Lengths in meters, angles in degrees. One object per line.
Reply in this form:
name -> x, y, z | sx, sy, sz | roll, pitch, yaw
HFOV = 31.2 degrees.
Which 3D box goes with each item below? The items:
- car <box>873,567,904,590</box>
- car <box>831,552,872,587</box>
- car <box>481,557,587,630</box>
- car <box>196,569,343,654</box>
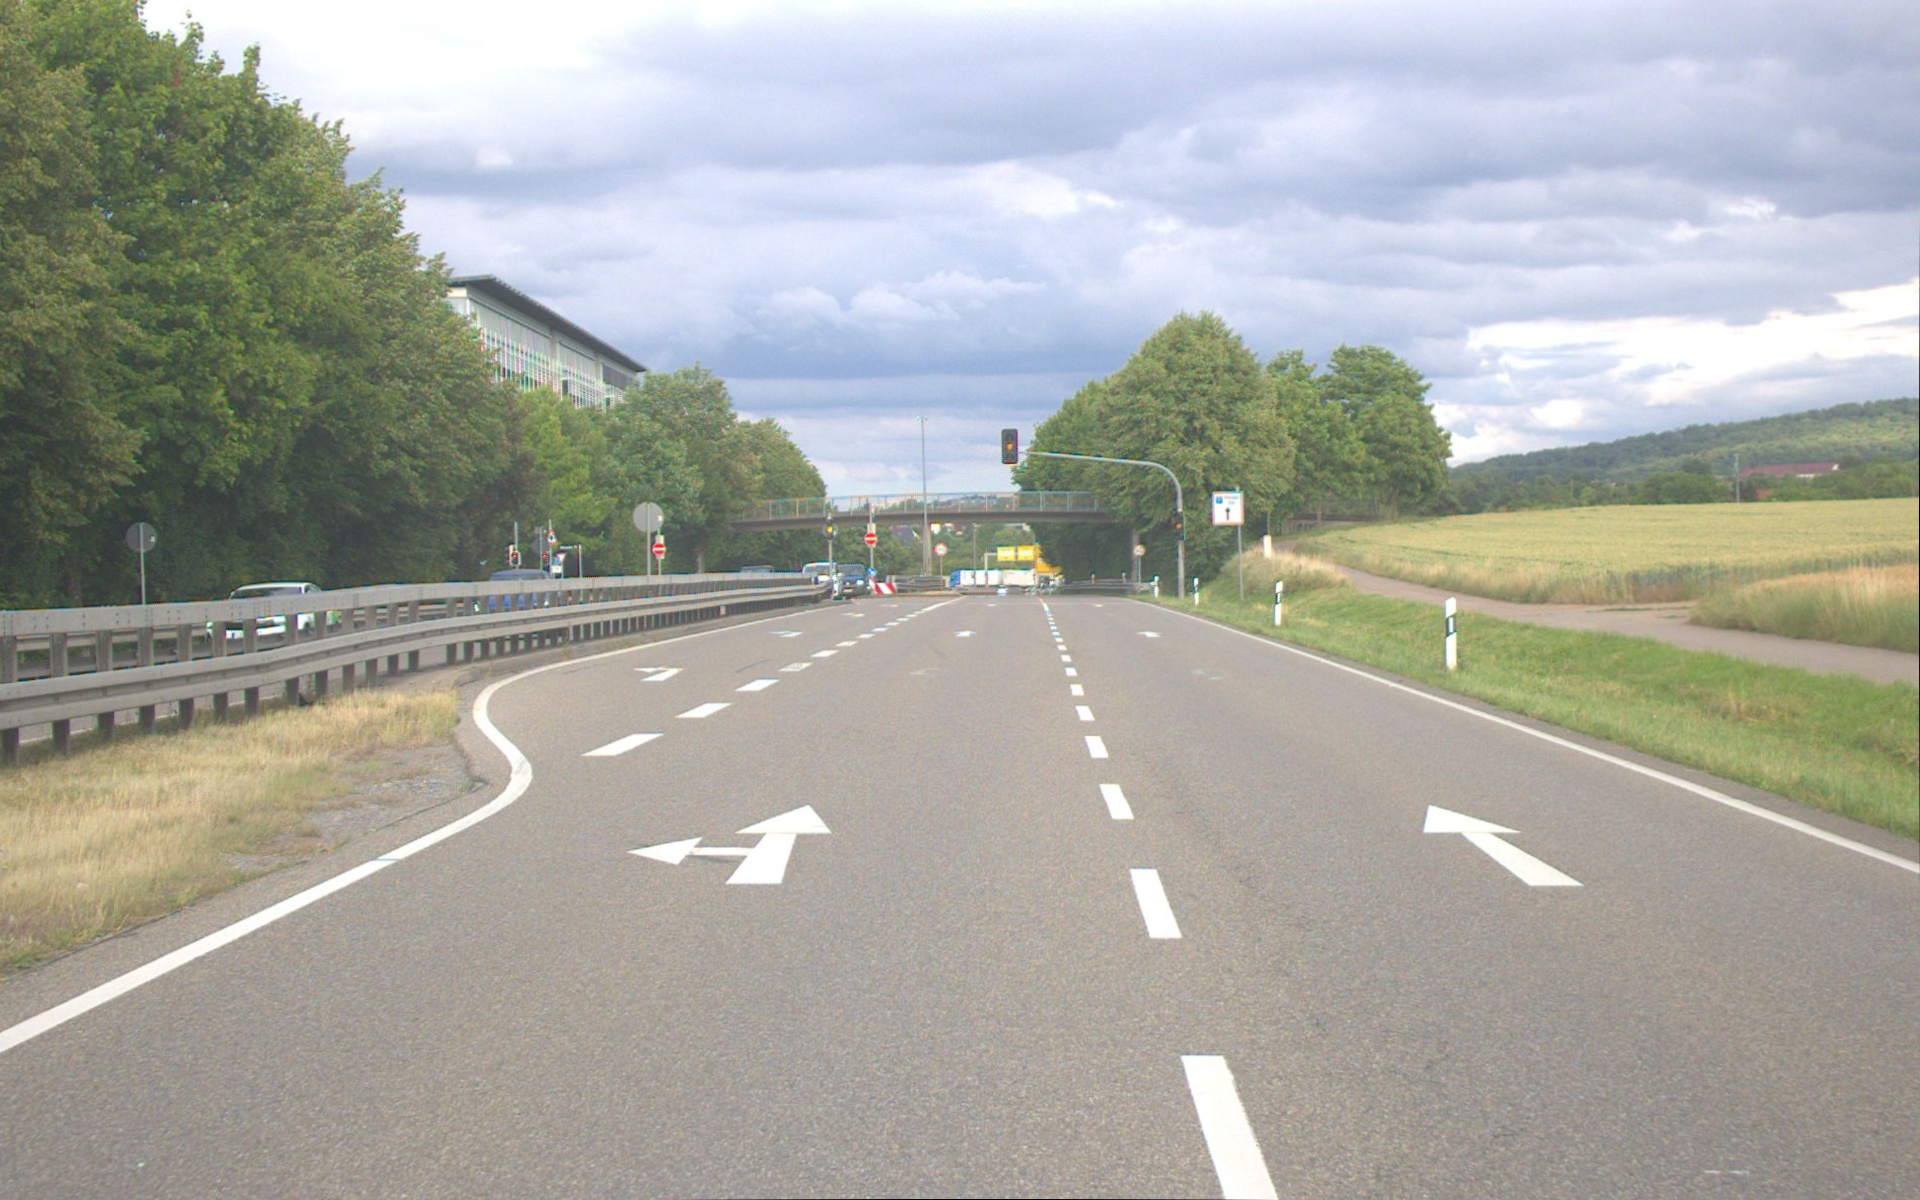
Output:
car -> -3.455, -1.048, 166.649 | 1.358, 1.088, 2.921 | -1, 1, 2
car -> -5.979, -1.676, 189.257 | 1.994, 1.867, 4.736 | -1, 1, 1
car -> -9.104, -0.156, 73.691 | 1.769, 1.463, 3.712 | -1, 1, 0
car -> -12.668, 0.185, 63.296 | 1.759, 1.408, 4.459 | -1, 1, 0
